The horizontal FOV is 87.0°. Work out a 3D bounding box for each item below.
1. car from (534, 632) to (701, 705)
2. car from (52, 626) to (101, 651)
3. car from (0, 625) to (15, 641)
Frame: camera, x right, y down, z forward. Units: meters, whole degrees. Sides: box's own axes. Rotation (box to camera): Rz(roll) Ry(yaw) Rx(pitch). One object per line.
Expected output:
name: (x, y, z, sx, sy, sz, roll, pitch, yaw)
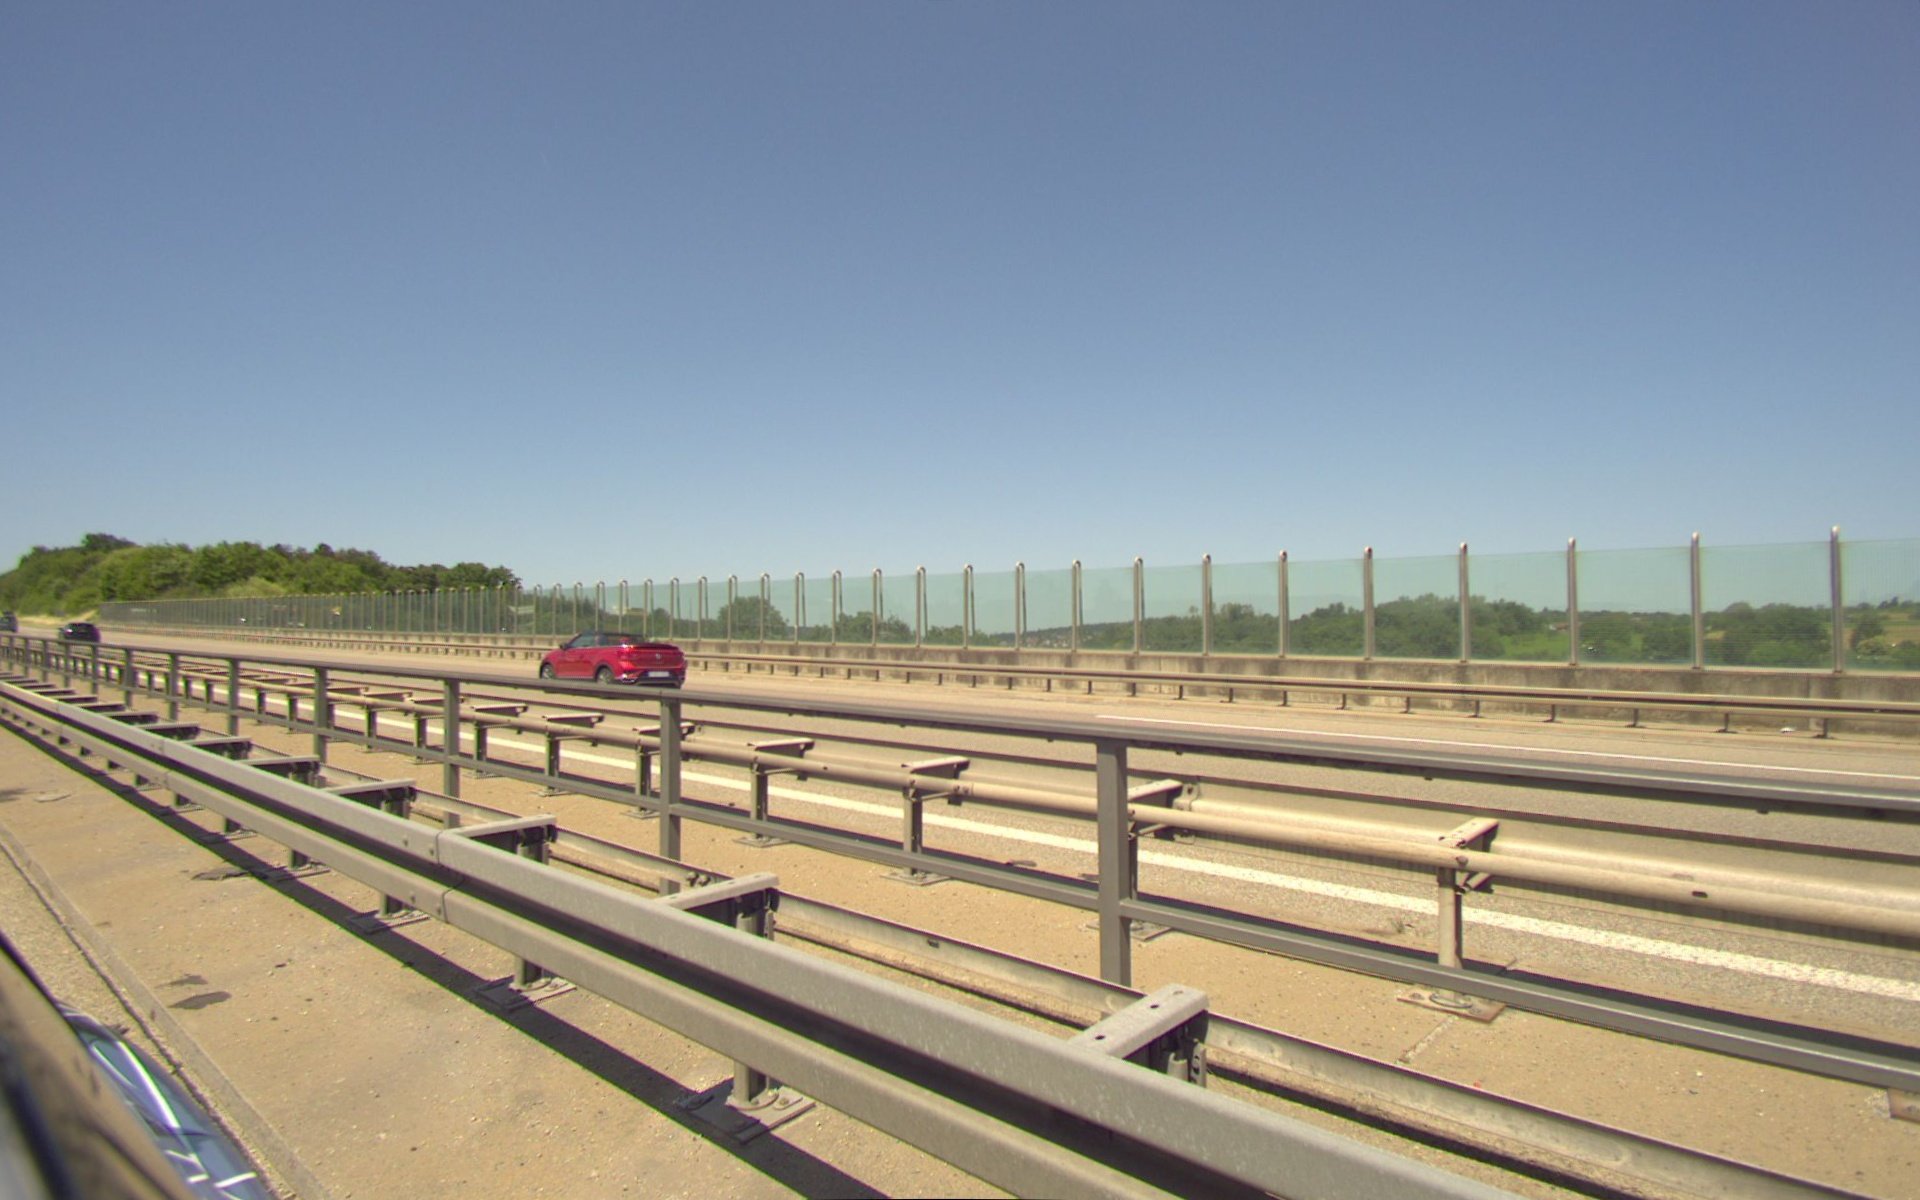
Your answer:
car: (-7.761, 1.496, 22.769, 3.999, 1.431, 1.763, -1, -4, 42)
car: (-53.893, 2.324, 61.697, 3.999, 1.431, 1.681, -1, -4, 42)
car: (-99.666, 3.395, 105.106, 3.999, 1.650, 1.808, -1, -4, 42)
